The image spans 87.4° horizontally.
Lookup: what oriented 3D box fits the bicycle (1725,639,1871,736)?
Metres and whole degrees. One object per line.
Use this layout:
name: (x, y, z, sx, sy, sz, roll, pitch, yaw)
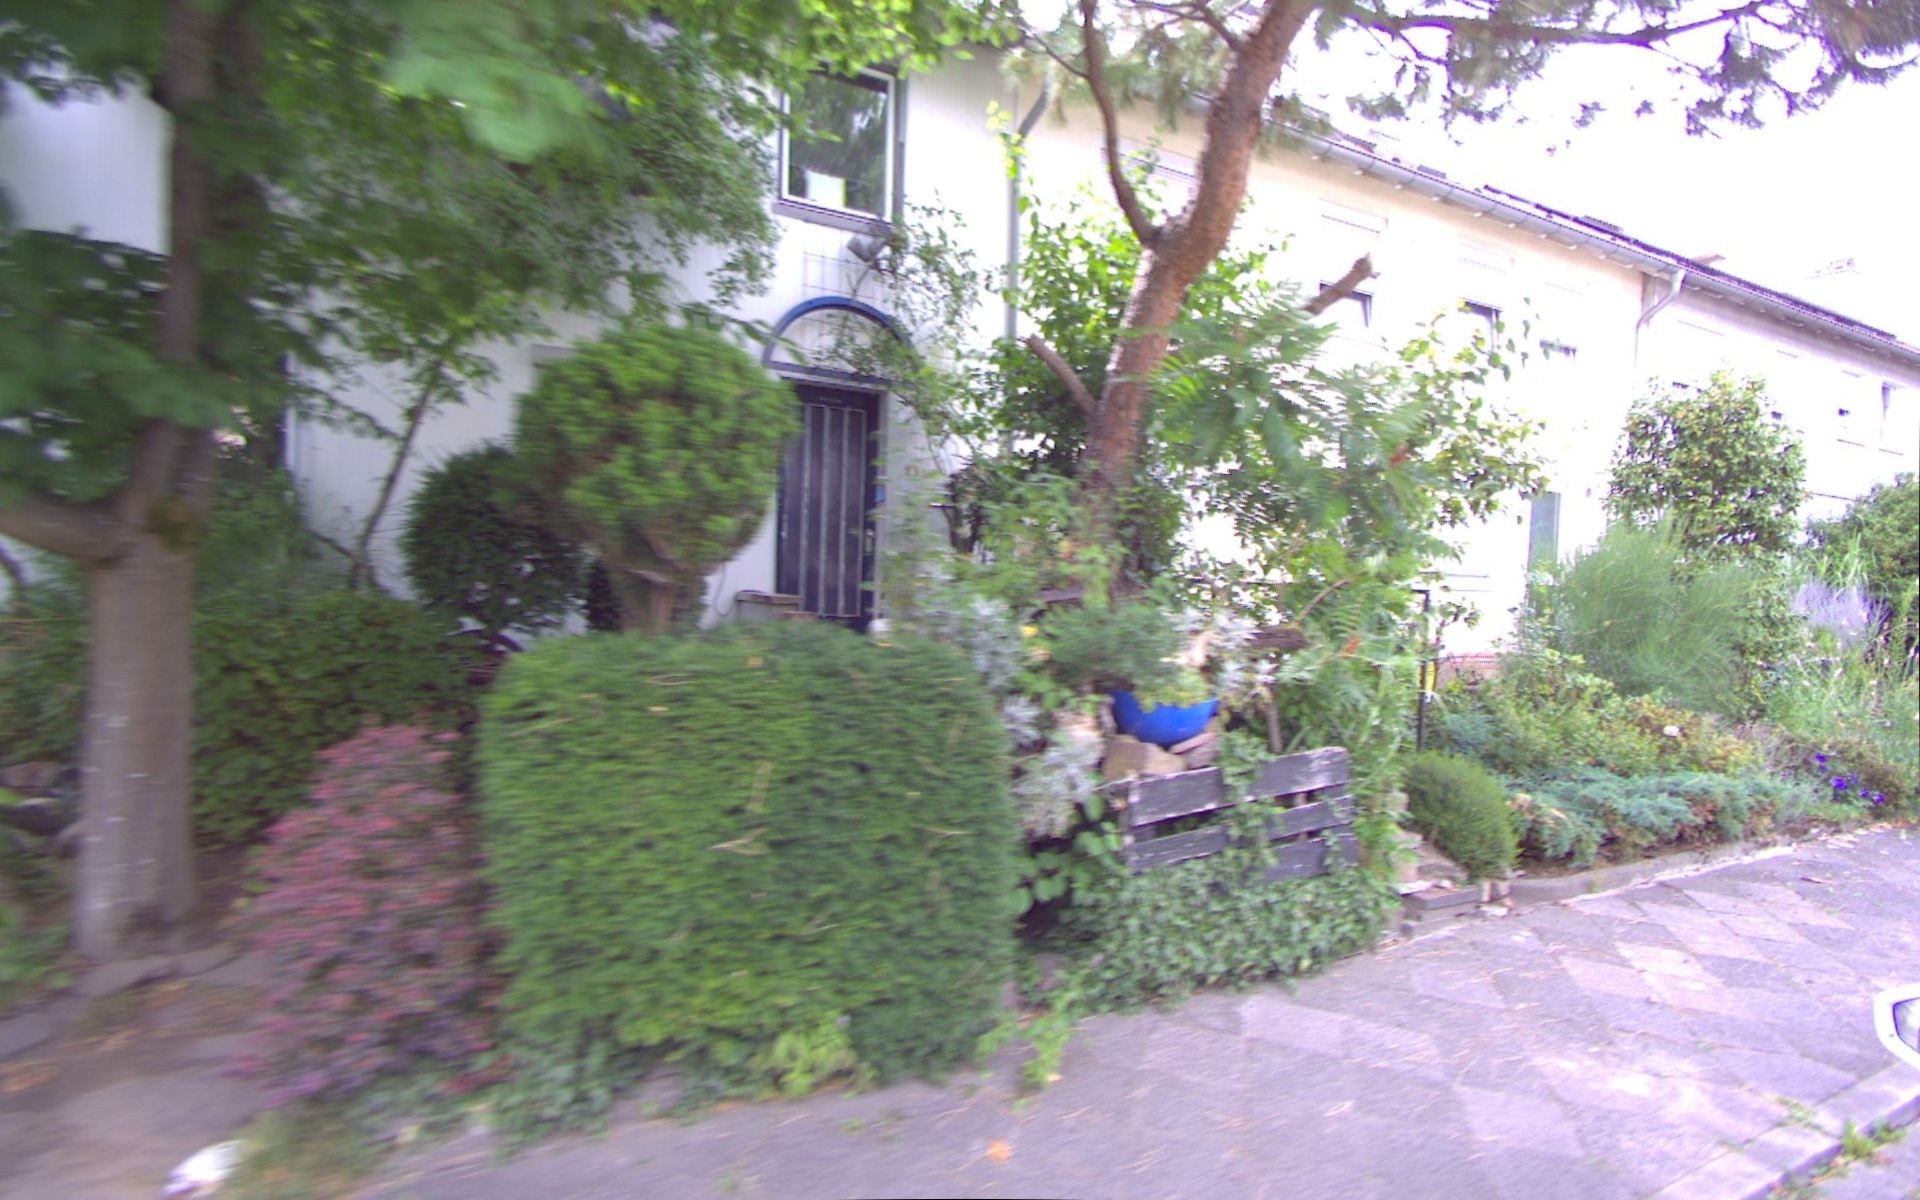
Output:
bicycle: (9.598, 0.967, 11.581, 0.518, 0.905, 1.703, 1, 2, 12)
